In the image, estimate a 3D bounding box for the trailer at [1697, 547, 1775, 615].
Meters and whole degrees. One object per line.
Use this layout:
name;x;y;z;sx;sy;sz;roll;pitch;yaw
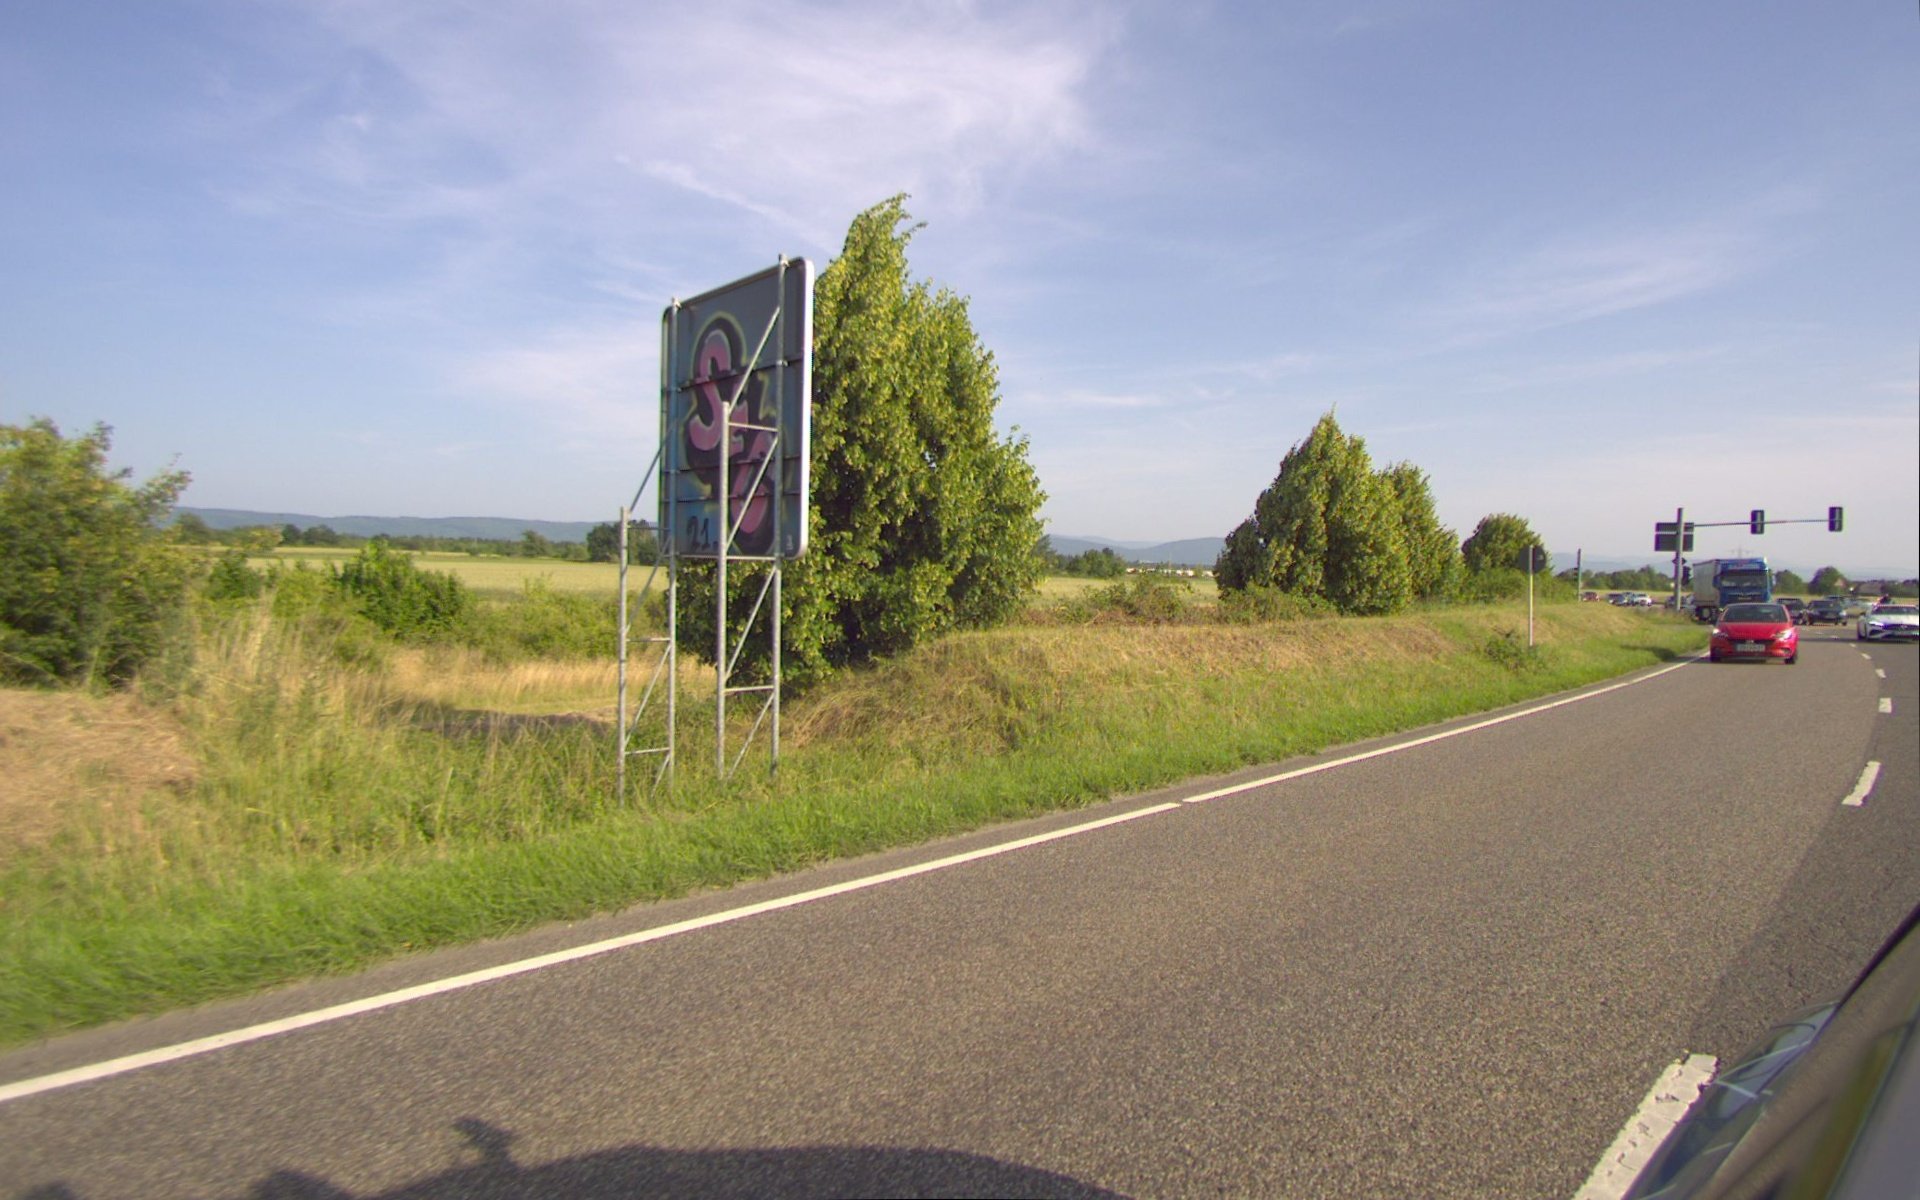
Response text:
trailer;51.183;-1.229;67.059;2.632;4.029;13.774;-1;0;32

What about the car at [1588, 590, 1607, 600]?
car;94.037;-0.742;149.300;1.500;1.412;3.495;1;1;19

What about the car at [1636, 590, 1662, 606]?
car;84.007;-0.238;123.417;1.980;1.905;3.965;1;1;26

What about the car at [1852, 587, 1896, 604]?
car;75.391;-0.363;83.556;1.685;1.370;4.408;0;1;29

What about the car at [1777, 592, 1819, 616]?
car;57.529;0.237;69.556;1.820;1.549;3.951;1;1;34

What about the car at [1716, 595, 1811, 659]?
car;20.467;0.621;25.729;1.660;1.482;3.895;0;1;42

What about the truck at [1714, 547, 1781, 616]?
truck;47.685;-1.101;61.394;2.633;3.969;5.881;-1;0;33

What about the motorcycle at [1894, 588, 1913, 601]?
motorcycle;82.820;-0.486;88.852;0.697;1.152;2.255;0;0;29

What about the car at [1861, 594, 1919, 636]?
car;34.613;0.510;37.176;1.866;1.415;4.149;1;1;36

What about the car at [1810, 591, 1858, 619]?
car;50.292;0.259;58.296;1.742;1.549;3.947;1;1;36
